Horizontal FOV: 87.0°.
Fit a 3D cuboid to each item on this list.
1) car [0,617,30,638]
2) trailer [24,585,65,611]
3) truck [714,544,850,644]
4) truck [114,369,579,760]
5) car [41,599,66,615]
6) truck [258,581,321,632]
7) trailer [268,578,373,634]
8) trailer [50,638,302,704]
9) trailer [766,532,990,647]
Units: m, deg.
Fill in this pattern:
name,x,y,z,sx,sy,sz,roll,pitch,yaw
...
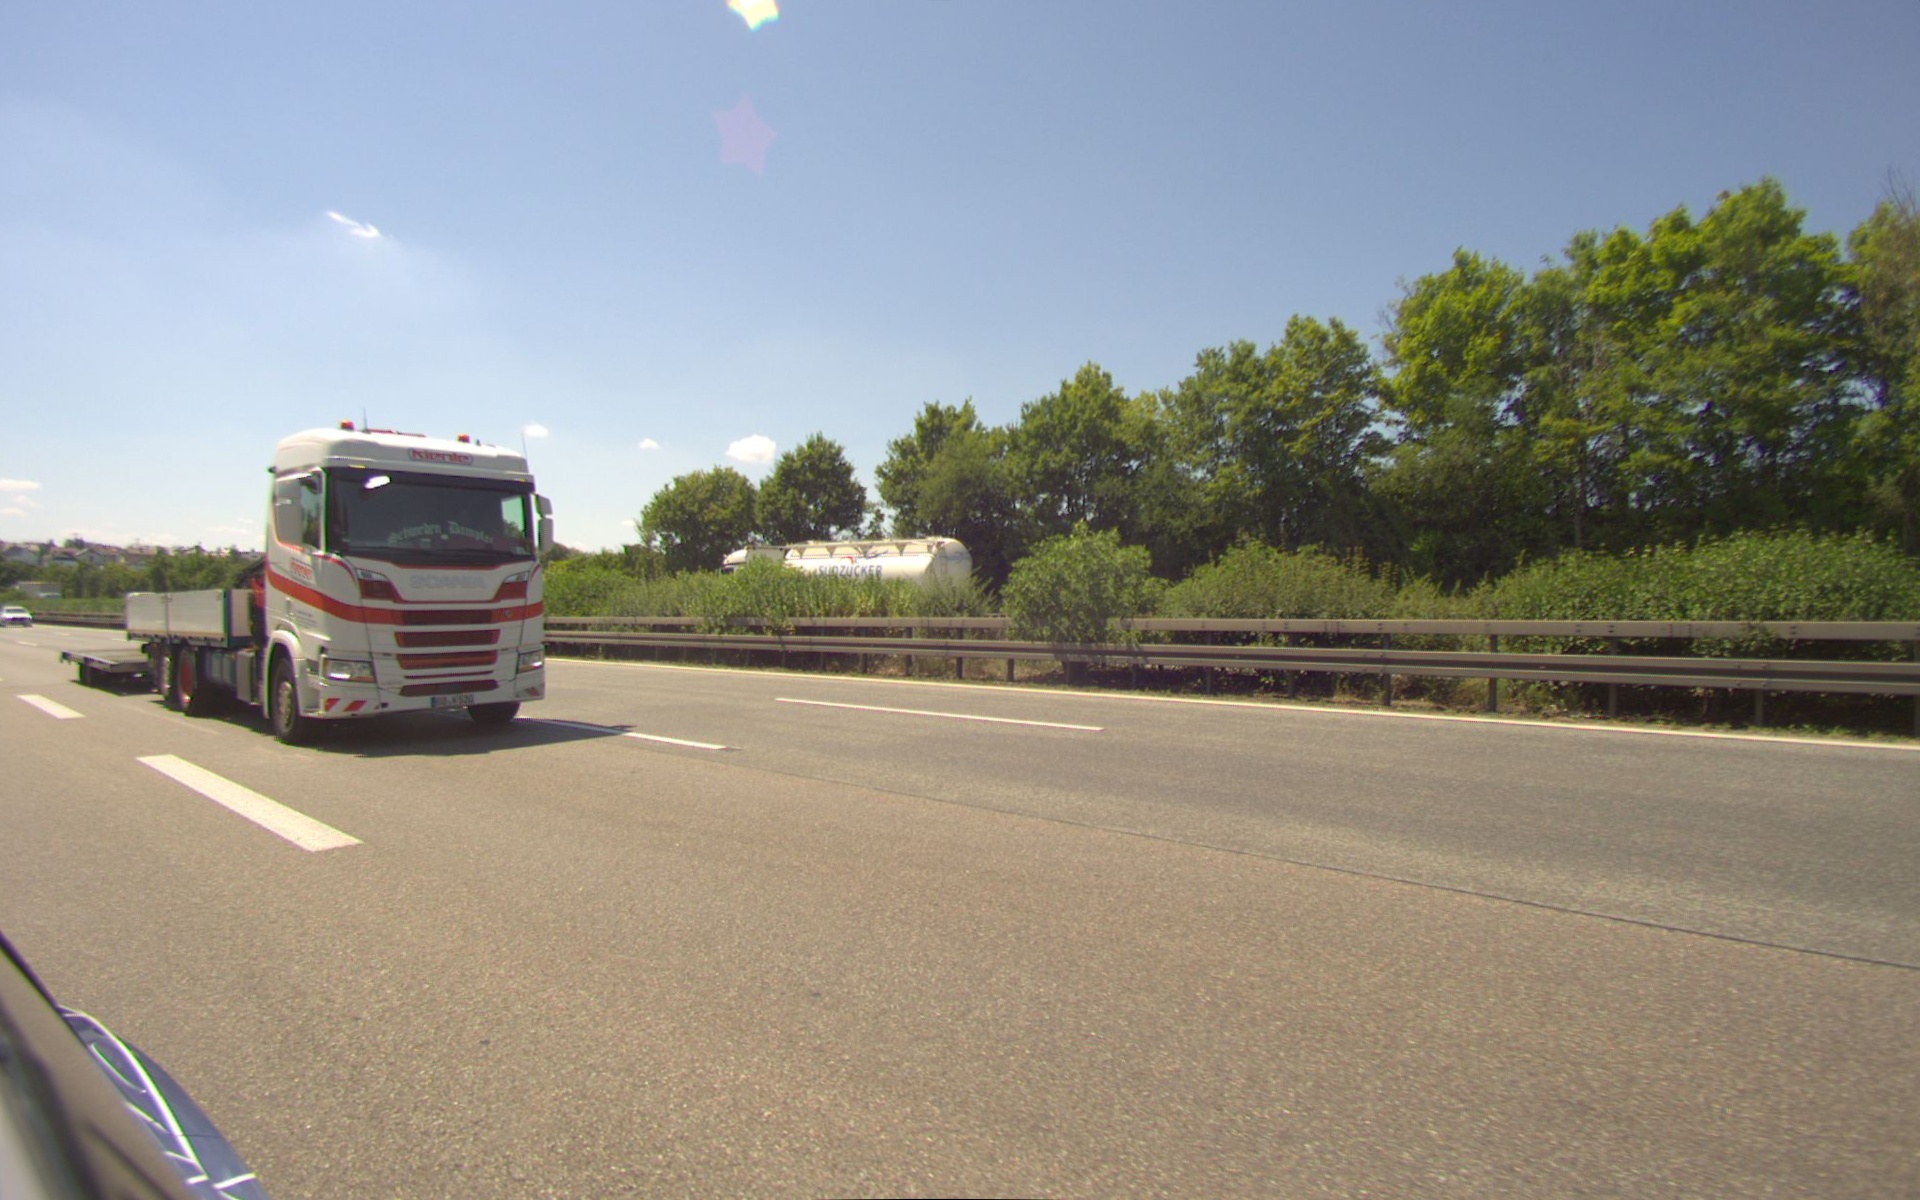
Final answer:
name,x,y,z,sx,sy,sz,roll,pitch,yaw
car,-74.470,2.140,79.435,3.999,1.564,1.858,-2,-1,42
trailer,-143.970,-0.301,159.083,13.702,3.977,2.514,-1,0,38
truck,-7.562,-0.199,42.642,5.745,3.918,2.666,-1,-1,43
truck,-9.373,-0.284,14.495,10.668,3.831,2.686,-1,-1,42
car,-125.348,0.998,139.873,3.997,2.029,1.973,2,1,40
truck,-56.648,0.545,85.477,4.826,4.121,3.298,-1,0,41
trailer,-51.127,0.501,80.571,13.921,4.121,3.356,-1,0,42
trailer,-16.143,1.324,20.585,7.757,0.941,2.686,-1,-1,42
trailer,-3.416,-0.295,38.829,9.733,3.918,2.661,-1,-1,43
